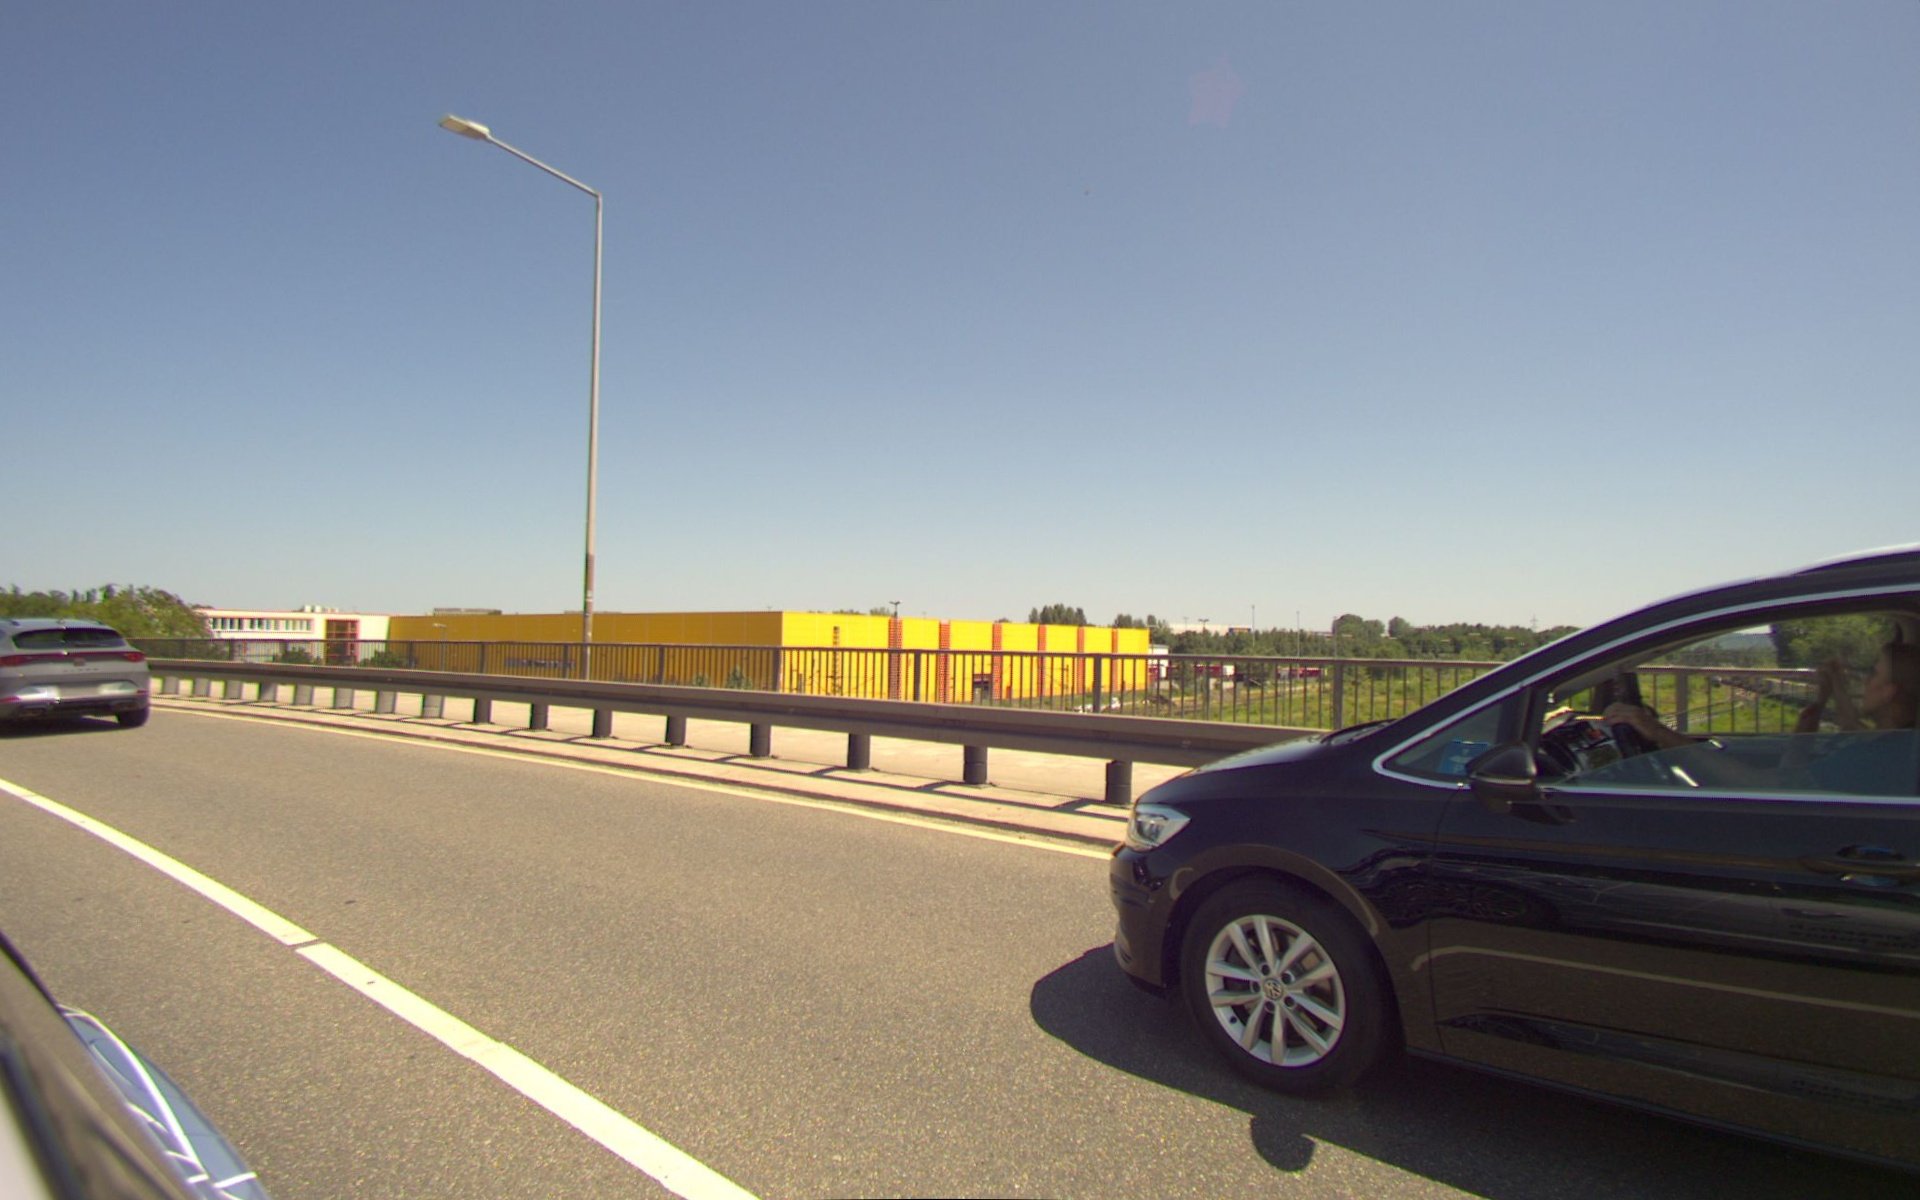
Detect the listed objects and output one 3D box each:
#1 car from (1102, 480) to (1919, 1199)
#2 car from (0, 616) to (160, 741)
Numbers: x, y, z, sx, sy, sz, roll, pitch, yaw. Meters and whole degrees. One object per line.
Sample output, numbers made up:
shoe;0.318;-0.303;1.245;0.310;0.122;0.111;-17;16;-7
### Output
car;2.641;0.581;2.617;4.251;1.638;1.753;-1;-1;41
car;-12.986;0.996;14.016;4.181;1.519;1.761;-1;-2;33
